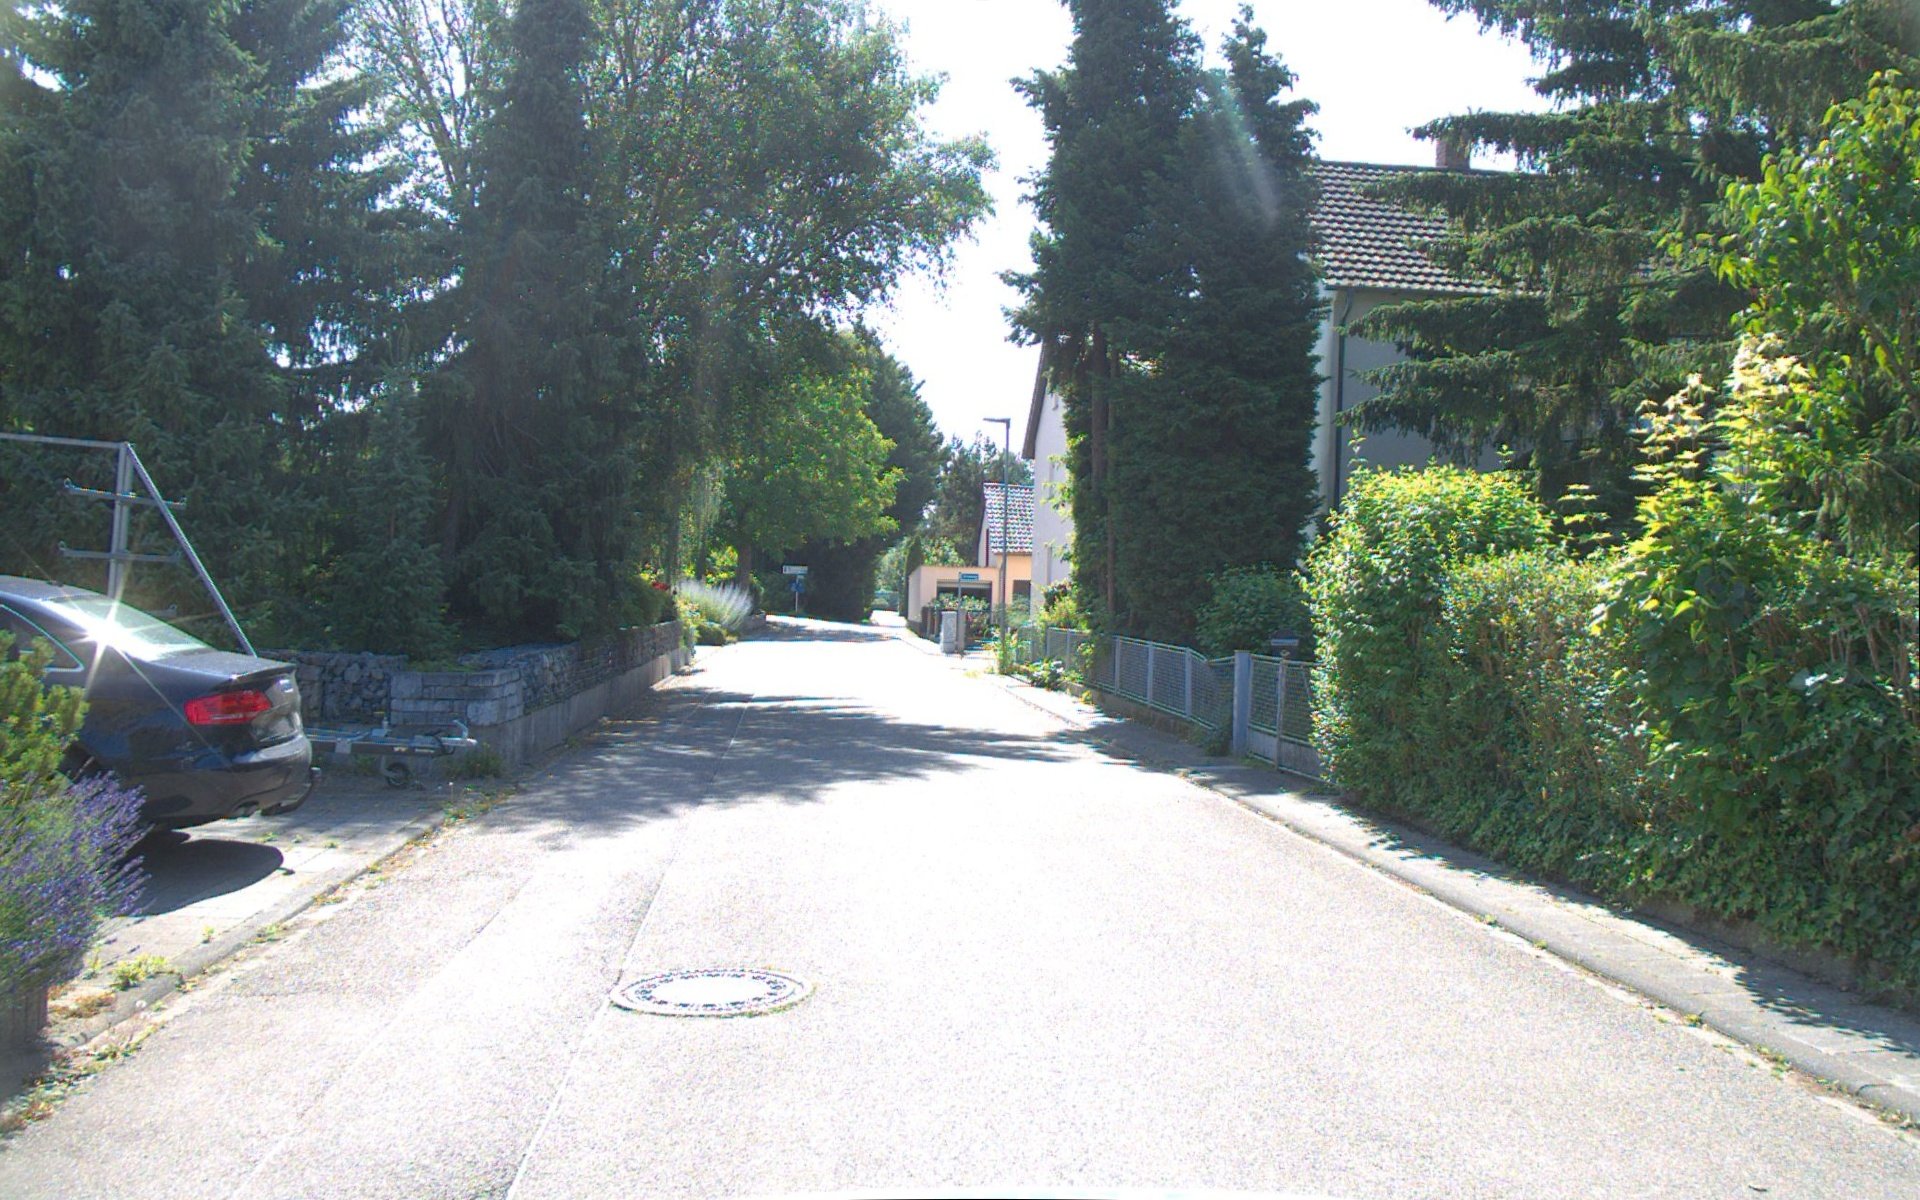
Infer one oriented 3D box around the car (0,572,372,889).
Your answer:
[{"bbox_3d":[-5.191,0.595,8.623,3.665,1.471,1.753,2,0,-8],"label":"car"}]
